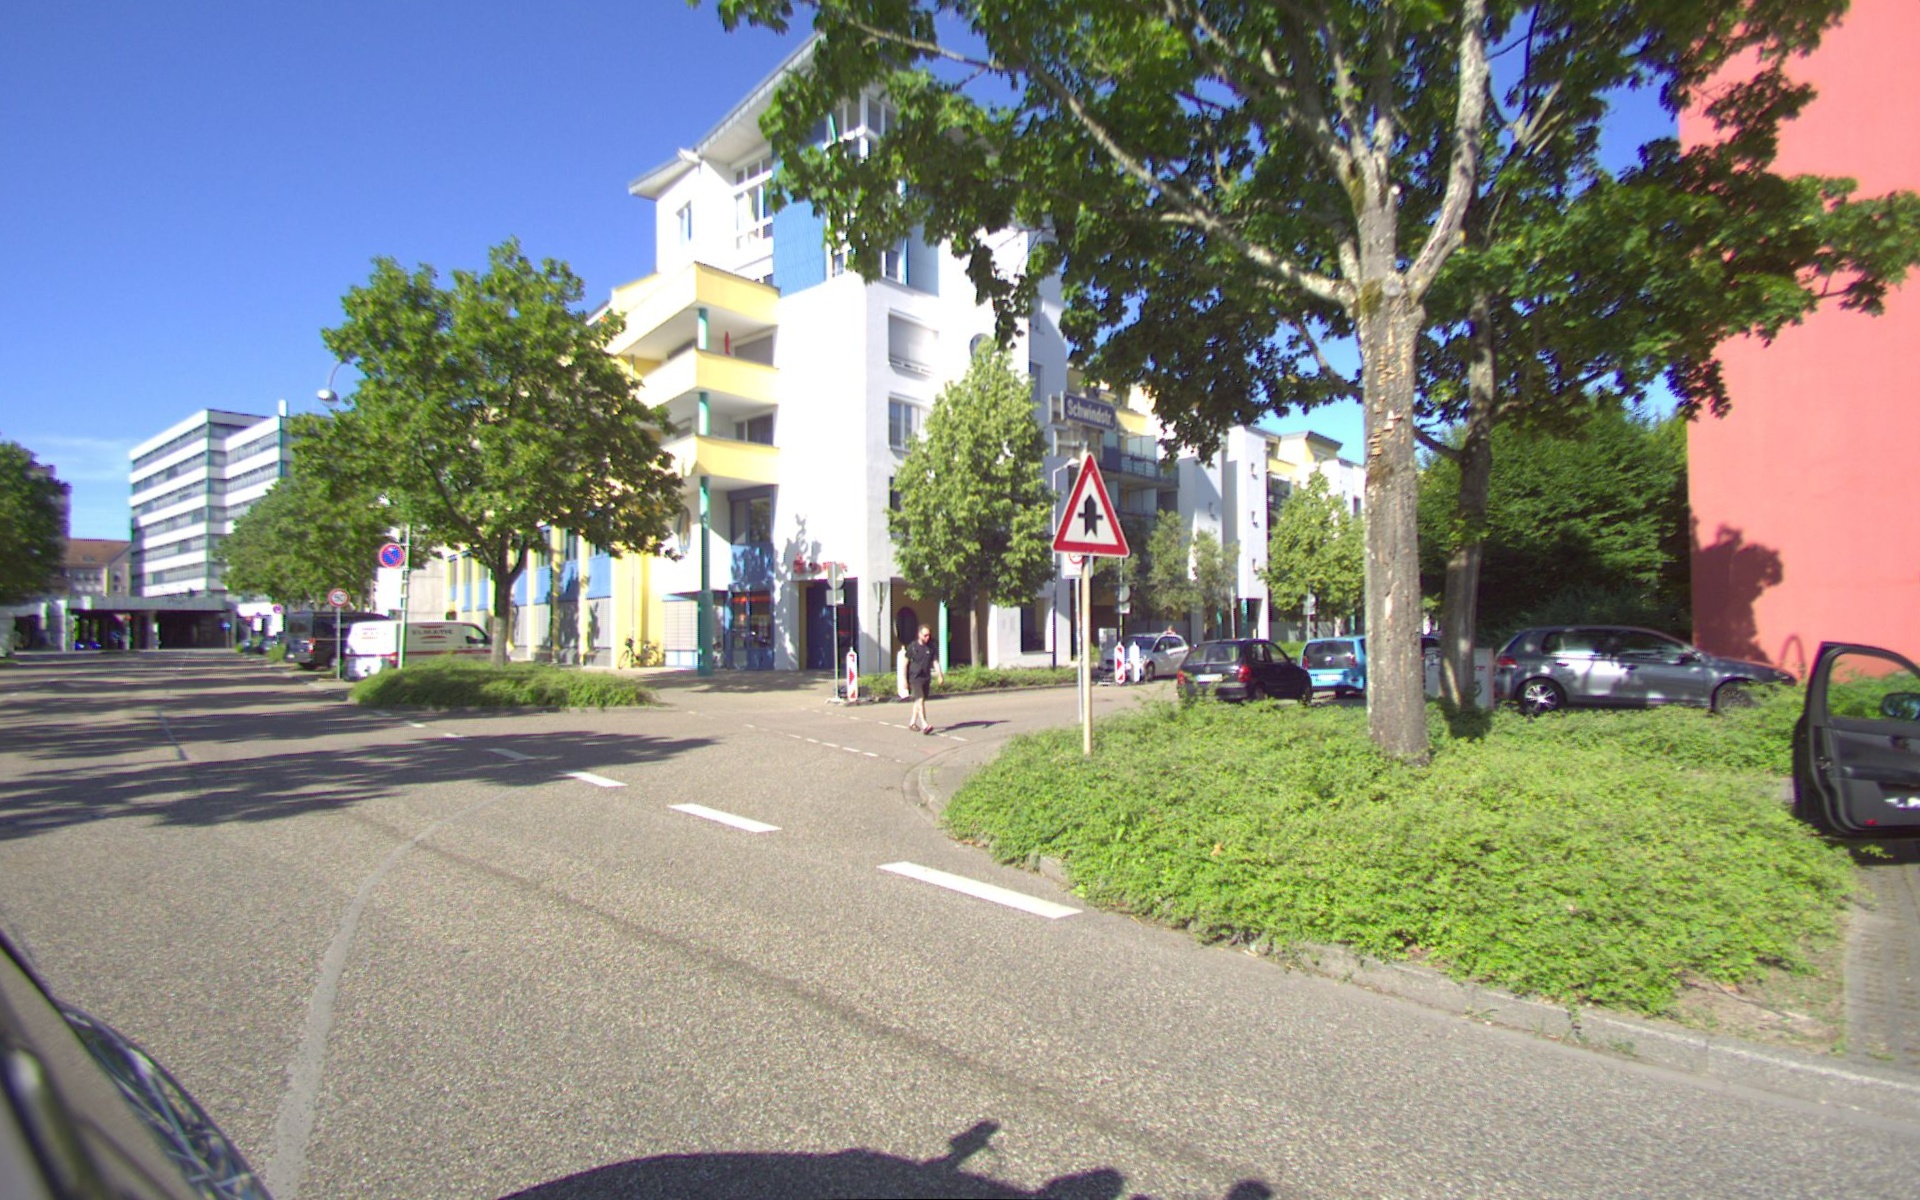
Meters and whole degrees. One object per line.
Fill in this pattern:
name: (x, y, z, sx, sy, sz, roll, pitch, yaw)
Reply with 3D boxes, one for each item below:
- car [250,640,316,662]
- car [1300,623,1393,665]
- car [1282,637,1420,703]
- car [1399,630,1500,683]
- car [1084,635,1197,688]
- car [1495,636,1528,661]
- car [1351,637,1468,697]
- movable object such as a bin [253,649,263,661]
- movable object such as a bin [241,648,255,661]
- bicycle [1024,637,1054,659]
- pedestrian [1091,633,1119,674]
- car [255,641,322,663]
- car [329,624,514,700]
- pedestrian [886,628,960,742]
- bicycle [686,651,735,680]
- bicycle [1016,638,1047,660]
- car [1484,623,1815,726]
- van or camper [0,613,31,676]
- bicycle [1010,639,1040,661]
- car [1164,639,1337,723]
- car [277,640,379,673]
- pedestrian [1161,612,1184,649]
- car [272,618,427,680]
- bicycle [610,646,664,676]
car: (-52.489, 3.958, 78.548, 1.796, 1.475, 3.975, -2, -1, 18)
car: (19.538, 2.245, 51.200, 3.994, 2.029, 1.975, -2, -3, 38)
car: (9.628, 1.688, 24.756, 1.935, 1.461, 3.954, -5, -5, 39)
car: (15.655, 1.786, 32.257, 1.935, 1.516, 3.954, -5, -5, 39)
car: (6.256, 2.085, 34.800, 1.998, 1.606, 4.192, -3, -2, 40)
car: (44.535, 3.913, 81.653, 1.841, 1.819, 3.952, -2, 0, 35)
car: (12.755, 1.869, 28.614, 1.935, 1.516, 3.954, -5, -5, 39)
movable object such as a bin: (-60.432, 4.756, 87.118, 0.470, 0.967, 0.543, -1, -1, -9)
movable object such as a bin: (-61.117, 4.666, 86.889, 0.665, 1.082, 0.804, 0, -2, -13)
bicycle: (3.230, 1.966, 41.175, 0.287, 0.878, 1.780, -2, -3, 38)
pedestrian: (5.472, 2.013, 38.190, 0.718, 1.525, 0.788, -2, -1, 38)
car: (-50.553, 3.881, 76.273, 1.796, 1.475, 3.975, -2, -1, 18)
car: (-15.394, 1.718, 29.282, 1.983, 2.000, 4.744, -2, -2, 17)
pedestrian: (-0.588, 1.332, 16.089, 1.022, 1.739, 0.649, -2, -4, 44)
bicycle: (-8.497, 2.221, 34.491, 0.490, 0.878, 1.783, -2, -1, 33)
bicycle: (2.936, 1.999, 41.449, 0.287, 0.878, 1.780, -2, -3, 38)
car: (10.686, 1.157, 16.096, 4.114, 1.454, 1.722, -2, -4, 29)
van or camper: (-48.628, 2.062, 48.345, 5.905, 3.007, 2.676, 5, -5, -39)
bicycle: (2.689, 2.068, 41.701, 0.287, 0.878, 1.780, -2, -3, 38)
car: (5.810, 1.549, 19.962, 1.802, 1.458, 3.942, -5, -5, 39)
car: (-32.772, 2.910, 52.562, 1.763, 1.487, 4.191, -3, -2, 30)
pedestrian: (8.554, 1.235, 40.737, 0.679, 1.500, 0.837, -2, -3, 32)
car: (-26.235, 2.058, 43.743, 2.174, 2.455, 5.458, -2, -2, 25)
bicycle: (-11.980, 2.253, 37.594, 1.774, 1.106, 0.703, 2, -4, -37)
